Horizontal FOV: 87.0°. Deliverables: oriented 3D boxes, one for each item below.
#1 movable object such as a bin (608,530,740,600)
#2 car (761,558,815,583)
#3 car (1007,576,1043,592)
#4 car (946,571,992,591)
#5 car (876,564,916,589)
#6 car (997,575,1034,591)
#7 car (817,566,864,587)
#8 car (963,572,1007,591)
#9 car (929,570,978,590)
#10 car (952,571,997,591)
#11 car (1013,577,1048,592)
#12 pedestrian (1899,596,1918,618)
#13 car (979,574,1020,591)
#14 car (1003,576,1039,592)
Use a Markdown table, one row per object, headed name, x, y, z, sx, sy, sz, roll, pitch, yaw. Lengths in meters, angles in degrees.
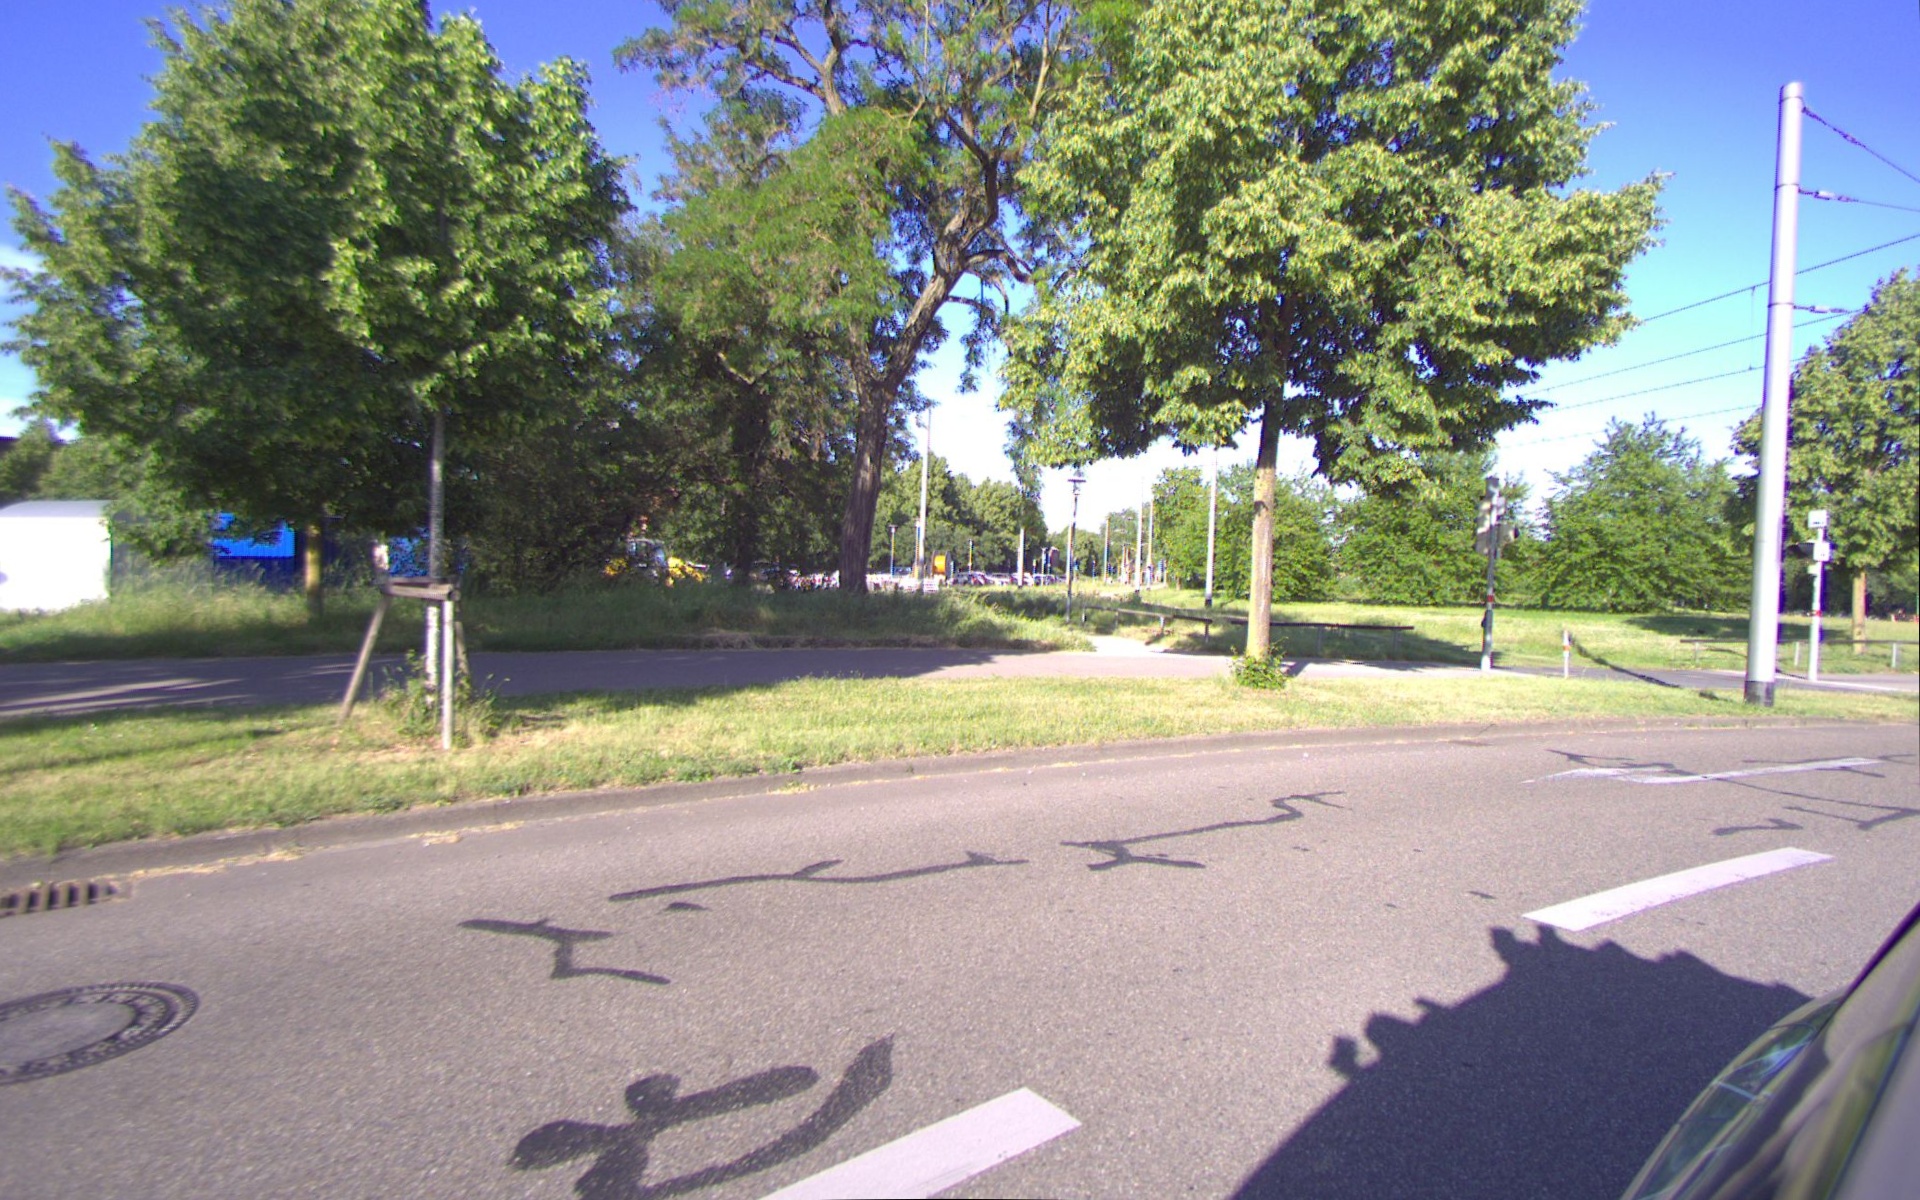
| name | x | y | z | sx | sy | sz | roll | pitch | yaw |
| --- | --- | --- | --- | --- | --- | --- | --- | --- | --- |
| movable object such as a bin | -11.950 | -1.448 | 42.537 | 4.957 | 2.824 | 1.998 | 1 | 0 | 4 |
| car | -14.129 | -2.389 | 83.198 | 3.942 | 1.984 | 1.991 | 1 | 0 | 15 |
| car | 7.640 | -1.890 | 119.170 | 3.942 | 1.778 | 1.906 | 1 | 0 | 15 |
| car | 0.856 | -1.776 | 93.367 | 3.942 | 1.778 | 1.906 | 1 | 0 | 15 |
| car | -6.939 | -2.520 | 109.384 | 3.942 | 2.686 | 1.991 | 1 | 0 | 15 |
| car | 6.227 | -1.864 | 113.505 | 3.942 | 1.778 | 1.906 | 1 | 0 | 15 |
| car | -11.148 | -2.234 | 94.810 | 3.942 | 1.920 | 1.991 | 1 | 0 | 15 |
| car | 2.427 | -1.794 | 98.126 | 3.942 | 1.778 | 1.906 | 1 | 0 | 15 |
| car | -0.555 | -1.766 | 89.990 | 3.942 | 1.778 | 1.991 | 1 | 0 | 15 |
| car | 1.413 | -1.788 | 95.811 | 3.942 | 1.778 | 1.906 | 1 | 0 | 15 |
| car | 8.478 | -1.898 | 121.444 | 3.942 | 1.778 | 1.906 | 1 | 0 | 15 |
| pedestrian | 62.971 | 0.469 | 67.175 | 0.778 | 1.458 | 0.688 | 2 | 1 | -30 |
| car | 4.060 | -1.824 | 104.744 | 3.942 | 1.778 | 1.906 | 1 | 0 | 15 |
| car | 7.062 | -1.879 | 116.820 | 3.942 | 1.778 | 1.906 | 1 | 0 | 15 |
